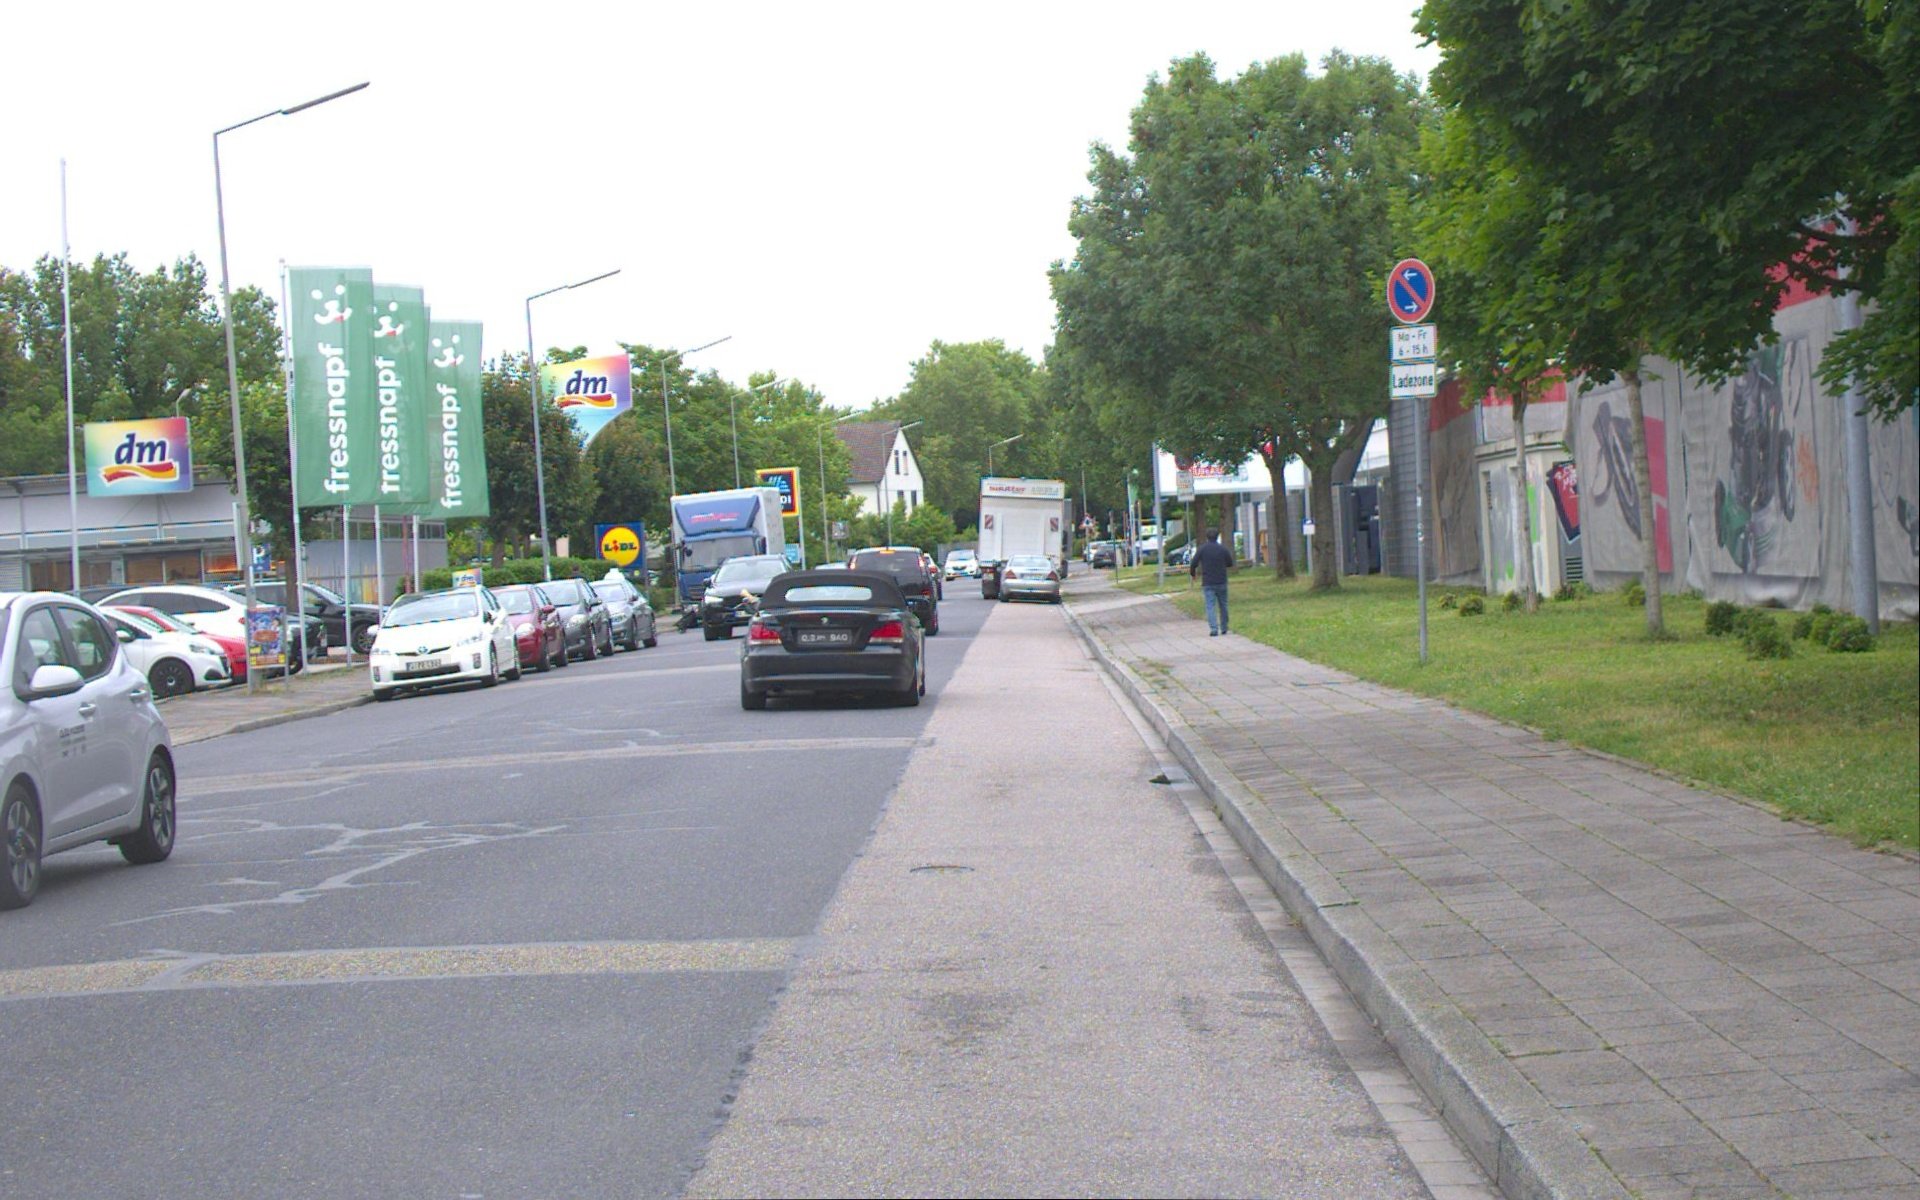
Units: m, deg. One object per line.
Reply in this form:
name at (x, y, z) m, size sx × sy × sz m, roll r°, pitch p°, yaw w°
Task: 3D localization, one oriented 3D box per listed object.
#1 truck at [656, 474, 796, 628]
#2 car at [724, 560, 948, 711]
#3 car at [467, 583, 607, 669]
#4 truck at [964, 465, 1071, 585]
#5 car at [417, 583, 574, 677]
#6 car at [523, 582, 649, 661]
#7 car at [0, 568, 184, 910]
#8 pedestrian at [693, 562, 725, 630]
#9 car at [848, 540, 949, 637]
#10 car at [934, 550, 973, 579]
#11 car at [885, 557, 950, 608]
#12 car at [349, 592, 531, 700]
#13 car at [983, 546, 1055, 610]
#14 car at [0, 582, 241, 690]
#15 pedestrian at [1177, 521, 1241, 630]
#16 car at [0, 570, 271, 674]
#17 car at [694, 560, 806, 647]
truck at (-6.471, -1.365, 95.889) m, size 2.974 × 3.942 × 6.404 m, roll -5°, pitch 1°, yaw 2°
car at (-1.190, 0.320, 34.790) m, size 1.746 × 1.354 × 4.137 m, roll -3°, pitch 0°, yaw 5°
car at (-7.629, 0.441, 62.334) m, size 1.898 × 1.362 × 4.000 m, roll -3°, pitch 1°, yaw 1°
truck at (1.774, -2.319, 110.105) m, size 3.135 × 3.572 × 10.050 m, roll -2°, pitch 0°, yaw 0°
car at (-7.628, 0.466, 56.827) m, size 1.898 × 1.362 × 4.000 m, roll -3°, pitch 1°, yaw 1°
car at (-7.389, 0.406, 68.279) m, size 1.898 × 1.362 × 4.000 m, roll -3°, pitch 1°, yaw 1°
car at (-5.081, 0.673, 16.738) m, size 1.599 × 1.523 × 3.528 m, roll -5°, pitch 0°, yaw 2°
pedestrian at (-6.198, -0.104, 84.952) m, size 0.631 × 1.631 × 0.668 m, roll -4°, pitch 1°, yaw 0°
car at (-1.161, -0.219, 62.908) m, size 1.681 × 1.626 × 3.759 m, roll -3°, pitch 1°, yaw -2°
car at (-0.347, -1.913, 184.512) m, size 1.886 × 1.526 × 4.254 m, roll -1°, pitch 1°, yaw 2°
car at (-1.338, -0.576, 109.912) m, size 1.886 × 1.526 × 4.254 m, roll -1°, pitch 1°, yaw 2°
car at (-7.558, 0.647, 50.279) m, size 1.898 × 1.362 × 4.000 m, roll -3°, pitch 1°, yaw 1°
car at (1.718, -0.640, 100.777) m, size 1.993 × 1.800 × 4.000 m, roll -2°, pitch 0°, yaw 0°
car at (-13.278, 0.553, 52.671) m, size 4.202 × 1.458 × 1.953 m, roll -2°, pitch 1°, yaw -6°
pedestrian at (3.813, -0.377, 52.655) m, size 0.919 × 1.629 × 0.852 m, roll -2°, pitch 0°, yaw 3°
car at (-13.784, 0.354, 57.566) m, size 4.135 × 1.458 × 1.899 m, roll -3°, pitch 1°, yaw -4°
car at (-4.262, 0.057, 70.331) m, size 1.993 × 1.678 × 4.000 m, roll -2°, pitch 0°, yaw 0°
